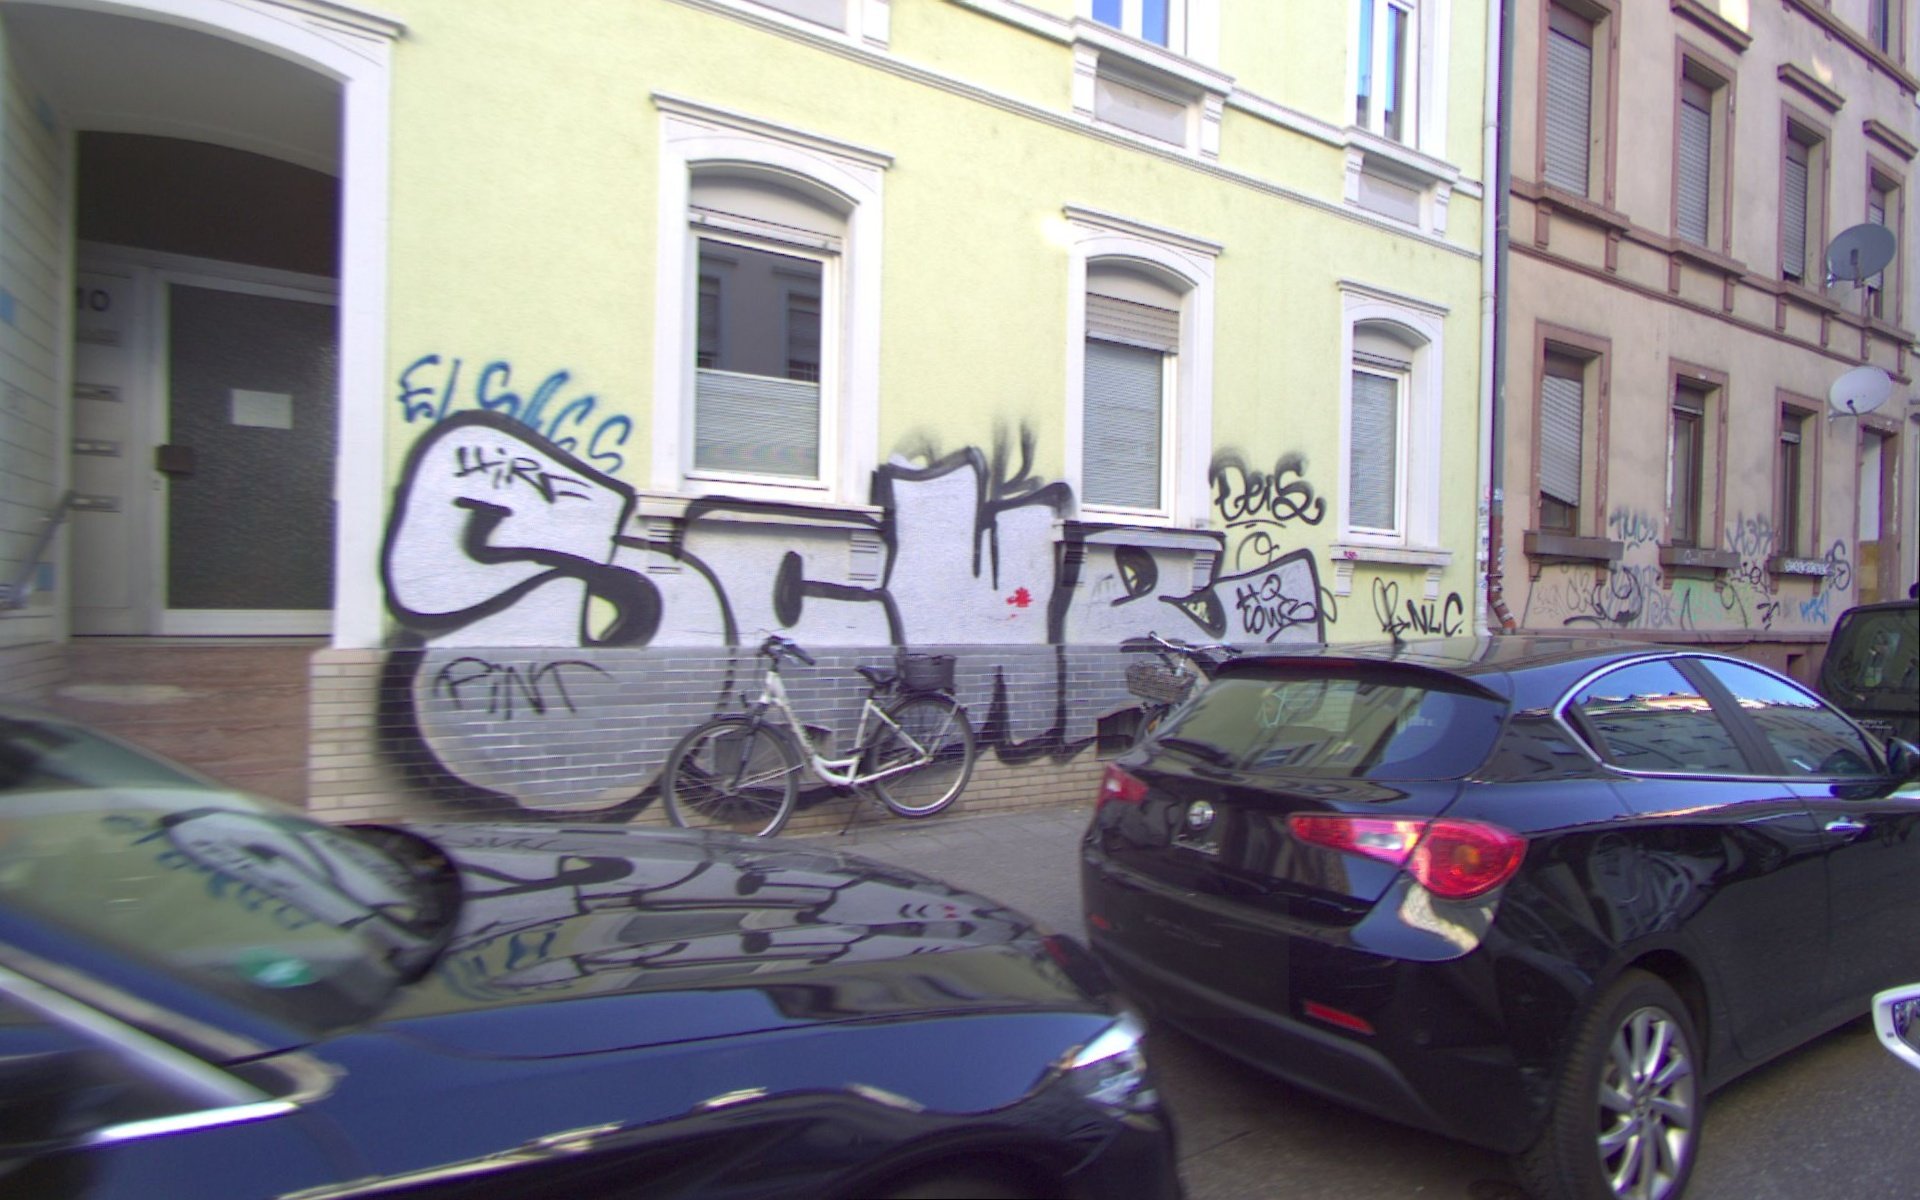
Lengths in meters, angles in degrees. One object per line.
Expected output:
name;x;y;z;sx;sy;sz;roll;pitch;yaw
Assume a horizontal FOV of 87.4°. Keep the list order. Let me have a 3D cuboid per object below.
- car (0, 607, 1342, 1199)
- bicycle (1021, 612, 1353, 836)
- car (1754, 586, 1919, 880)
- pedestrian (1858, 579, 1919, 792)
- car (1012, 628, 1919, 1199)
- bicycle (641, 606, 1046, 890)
car;-1.736;0.738;1.354;4.593;1.459;1.852;0;-1;-32
bicycle;1.564;0.744;6.717;2.300;1.262;0.664;1;3;-31
car;7.378;0.812;6.808;3.953;1.720;1.793;1;-3;-30
pedestrian;8.631;0.752;8.961;0.745;1.842;0.648;1;2;-29
car;2.316;0.848;3.794;3.953;1.446;1.728;1;-1;-30
bicycle;-0.578;0.694;5.398;2.062;1.288;0.670;1;0;-30
